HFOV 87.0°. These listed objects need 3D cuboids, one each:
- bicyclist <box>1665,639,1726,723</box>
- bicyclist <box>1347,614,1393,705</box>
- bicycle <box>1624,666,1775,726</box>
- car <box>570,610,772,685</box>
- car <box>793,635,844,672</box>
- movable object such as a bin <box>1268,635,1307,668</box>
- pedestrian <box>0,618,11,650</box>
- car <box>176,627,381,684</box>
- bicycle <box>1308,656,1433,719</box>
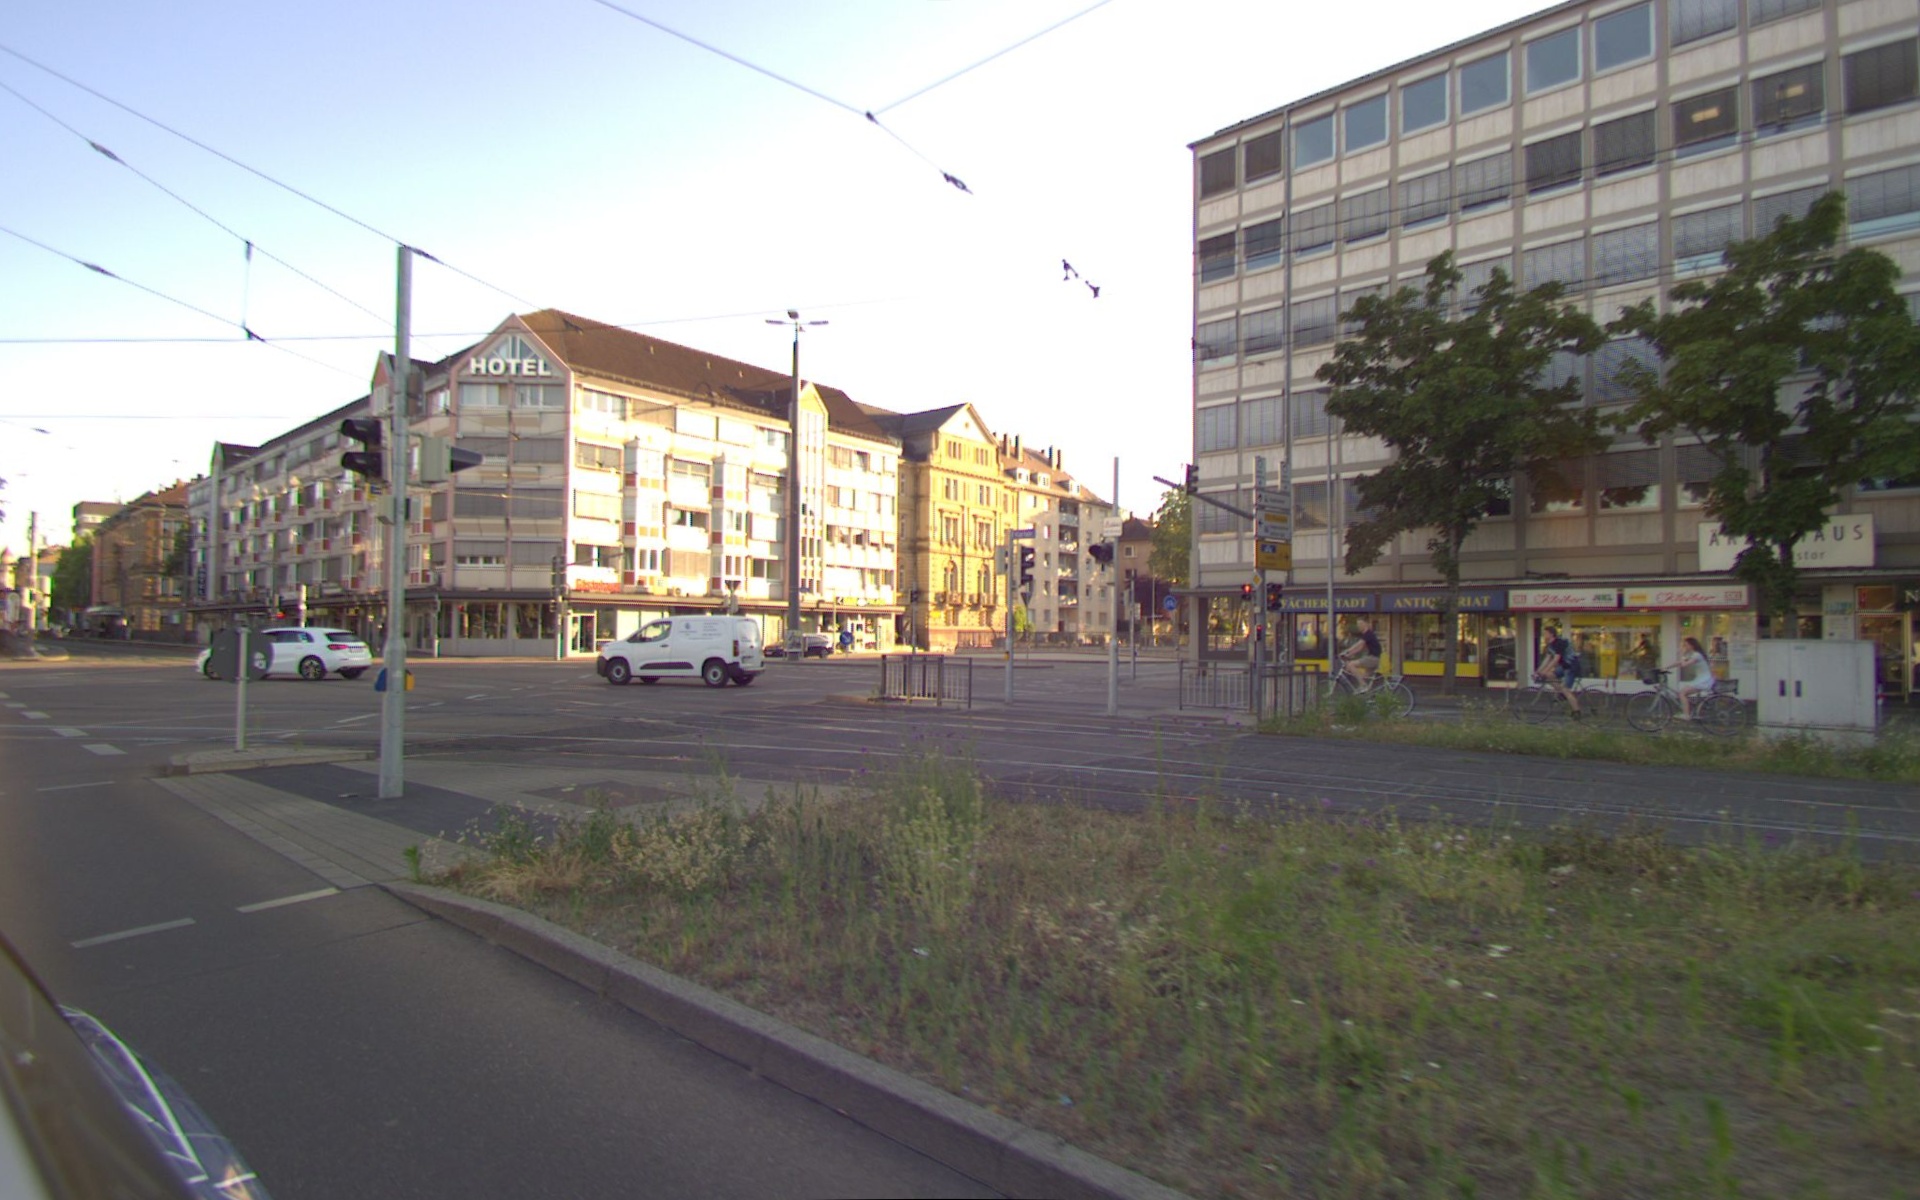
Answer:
[{"bbox_3d":[12.499,1.361,17.214,0.680,1.380,0.710,-1,-3,25],"label":"bicyclist"},{"bbox_3d":[7.526,1.085,18.605,0.694,1.624,0.733,0,-2,16],"label":"bicyclist"},{"bbox_3d":[12.509,1.607,17.197,1.943,0.937,0.718,-1,-3,25],"label":"bicycle"},{"bbox_3d":[-7.631,1.242,26.831,4.830,1.852,1.991,-1,-2,15],"label":"car"},{"bbox_3d":[-8.477,3.248,60.863,2.193,1.568,4.607,-4,-10,2],"label":"car"},{"bbox_3d":[13.582,2.132,41.959,1.393,1.337,0.961,2,-3,-44],"label":"movable object such as a bin"},{"bbox_3d":[-60.344,2.146,63.677,0.677,2.029,0.800,-1,-3,39],"label":"pedestrian"},{"bbox_3d":[-18.823,1.515,28.076,4.502,1.460,1.815,0,-2,2],"label":"car"},{"bbox_3d":[7.501,1.583,18.598,2.039,1.084,0.753,0,-2,16],"label":"bicycle"}]
